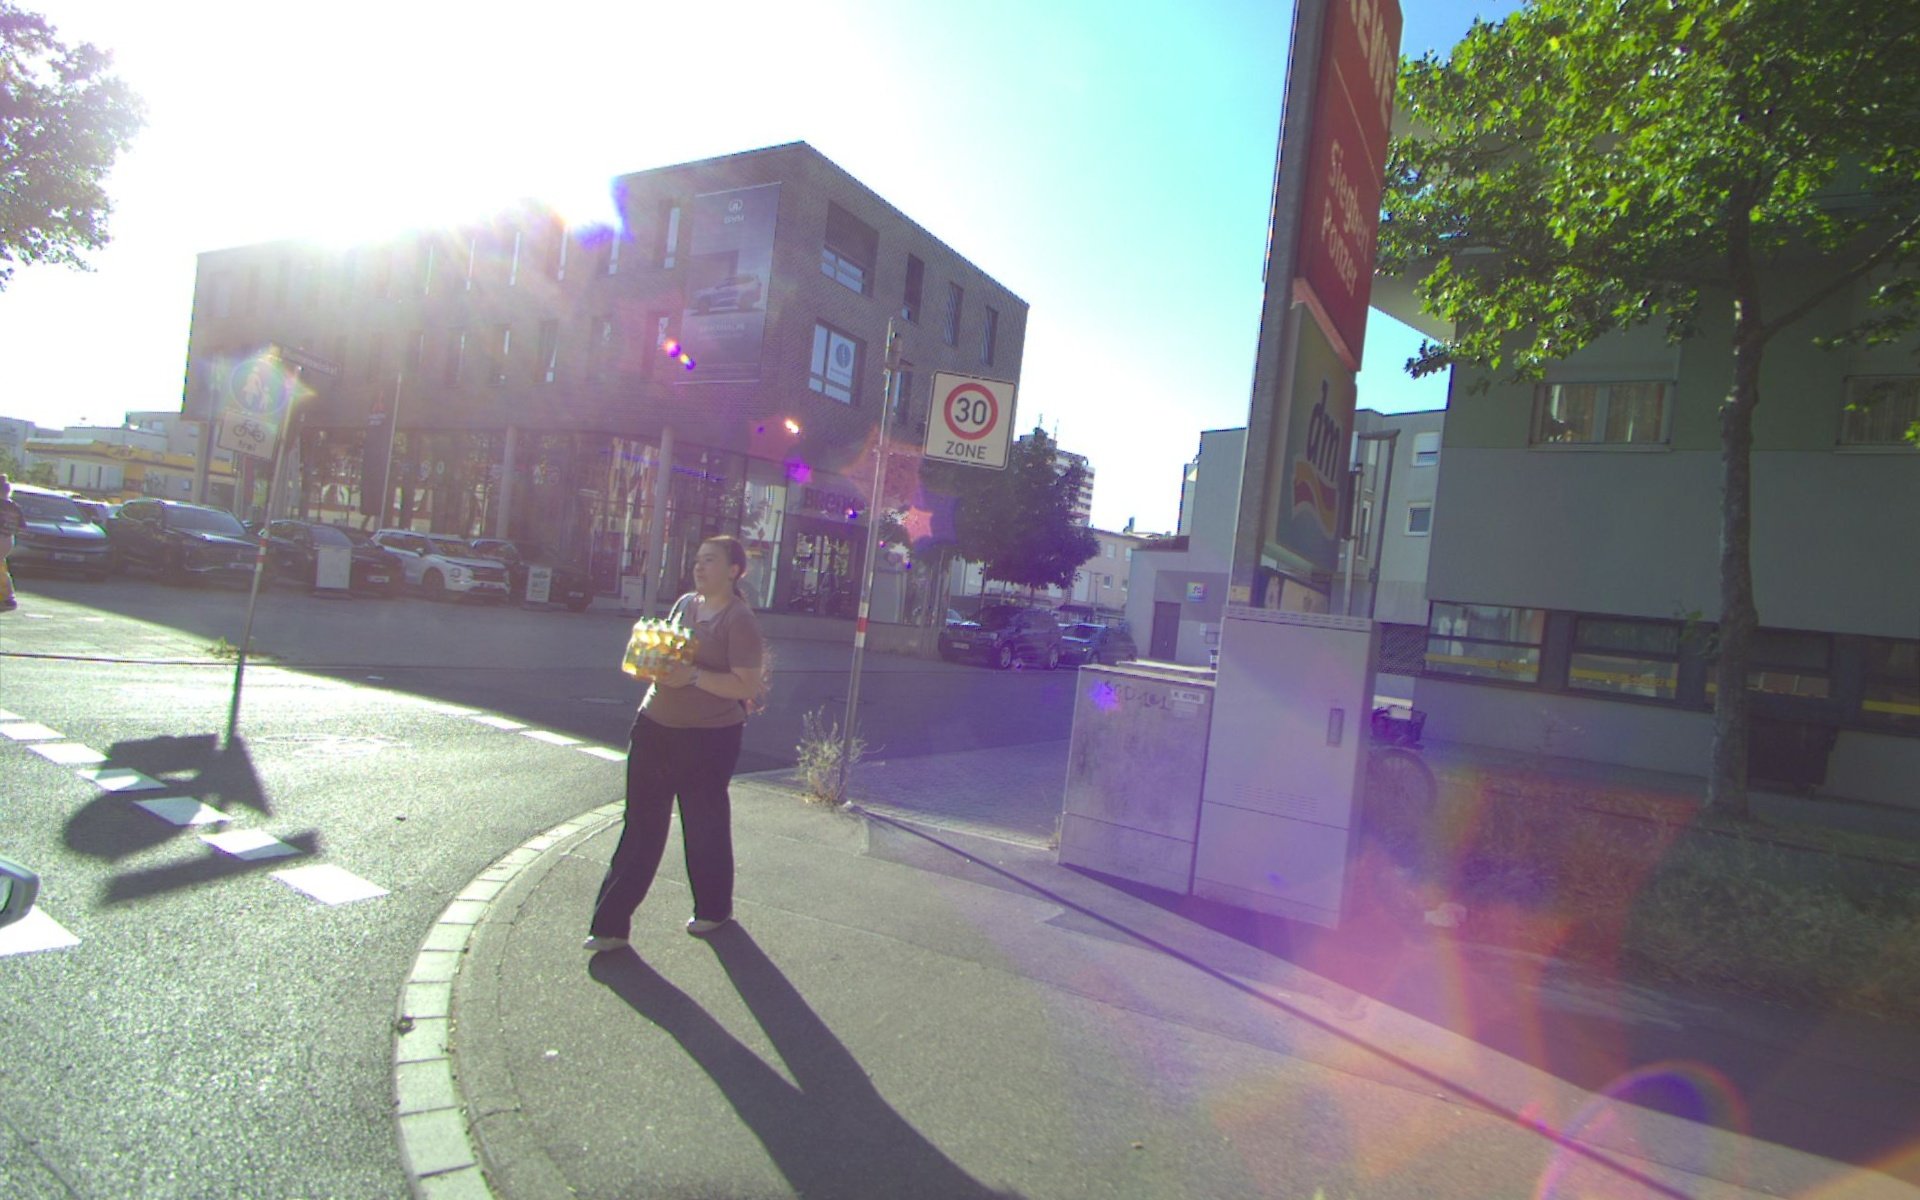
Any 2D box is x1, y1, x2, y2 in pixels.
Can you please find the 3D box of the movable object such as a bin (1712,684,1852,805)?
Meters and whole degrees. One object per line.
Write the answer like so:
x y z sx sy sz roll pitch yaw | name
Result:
12.082 2.085 14.789 1.389 1.481 1.190 7 0 44 | movable object such as a bin

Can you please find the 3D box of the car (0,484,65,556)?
-23.353 -1.996 23.387 1.710 1.630 3.815 6 1 -3 | car

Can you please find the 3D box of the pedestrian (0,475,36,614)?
-12.484 -0.744 12.991 0.689 1.744 0.712 5 1 -45 | pedestrian

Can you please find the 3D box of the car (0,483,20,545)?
-25.931 -2.337 24.967 1.710 1.598 3.814 6 1 -5 | car

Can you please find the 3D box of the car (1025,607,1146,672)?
4.038 1.276 31.700 1.996 1.683 4.487 7 1 30 | car

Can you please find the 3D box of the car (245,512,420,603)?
-15.134 -1.031 24.232 4.109 1.705 1.729 6 0 30 | car

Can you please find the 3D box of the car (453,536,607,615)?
-12.313 -0.711 28.760 4.112 1.755 1.987 6 0 33 | car

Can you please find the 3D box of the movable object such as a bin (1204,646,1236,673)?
12.207 2.794 47.267 0.979 1.086 0.912 6 2 -37 | movable object such as a bin

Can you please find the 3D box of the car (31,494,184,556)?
-26.736 -2.317 31.717 1.613 1.530 3.815 6 1 -3 | car

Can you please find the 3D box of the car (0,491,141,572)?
-20.755 -1.554 22.527 1.632 1.564 3.818 6 0 -1 | car

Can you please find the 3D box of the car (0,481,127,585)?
-18.030 -1.369 19.376 4.089 1.690 1.754 6 0 32 | car

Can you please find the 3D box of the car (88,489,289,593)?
-16.679 -1.278 21.717 4.294 1.753 1.828 6 0 30 | car

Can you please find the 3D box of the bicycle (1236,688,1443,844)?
3.070 1.330 8.244 1.458 1.016 0.384 6 1 16 | bicycle

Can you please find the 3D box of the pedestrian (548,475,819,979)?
-1.079 0.462 4.067 0.651 1.785 0.770 6 2 10 | pedestrian

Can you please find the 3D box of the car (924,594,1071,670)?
1.116 0.897 27.201 1.996 1.683 4.488 7 1 29 | car

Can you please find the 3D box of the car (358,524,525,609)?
-13.667 -0.893 26.480 4.109 1.755 1.878 6 0 30 | car

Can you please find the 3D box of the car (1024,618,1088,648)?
6.509 2.219 68.323 3.948 1.641 1.859 4 -2 44 | car
